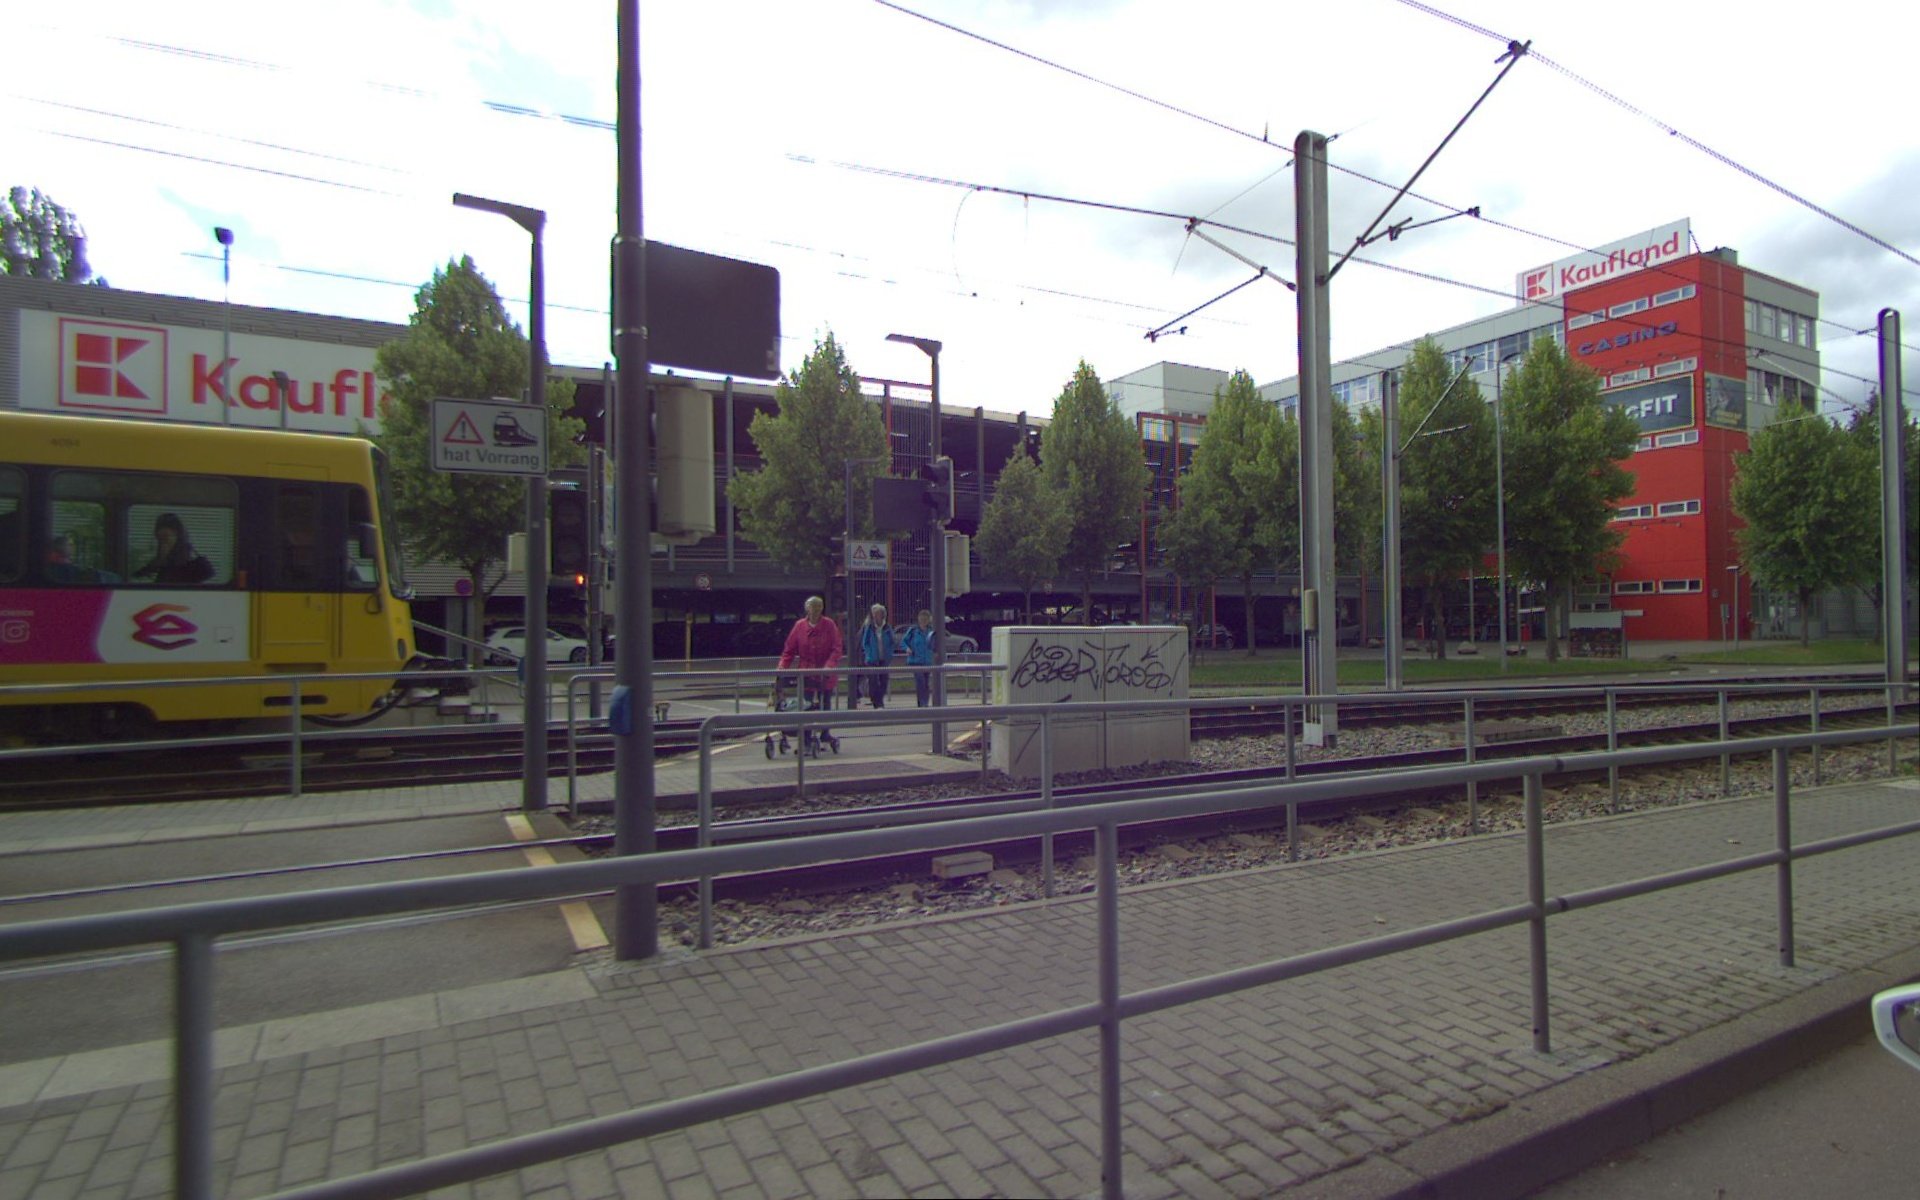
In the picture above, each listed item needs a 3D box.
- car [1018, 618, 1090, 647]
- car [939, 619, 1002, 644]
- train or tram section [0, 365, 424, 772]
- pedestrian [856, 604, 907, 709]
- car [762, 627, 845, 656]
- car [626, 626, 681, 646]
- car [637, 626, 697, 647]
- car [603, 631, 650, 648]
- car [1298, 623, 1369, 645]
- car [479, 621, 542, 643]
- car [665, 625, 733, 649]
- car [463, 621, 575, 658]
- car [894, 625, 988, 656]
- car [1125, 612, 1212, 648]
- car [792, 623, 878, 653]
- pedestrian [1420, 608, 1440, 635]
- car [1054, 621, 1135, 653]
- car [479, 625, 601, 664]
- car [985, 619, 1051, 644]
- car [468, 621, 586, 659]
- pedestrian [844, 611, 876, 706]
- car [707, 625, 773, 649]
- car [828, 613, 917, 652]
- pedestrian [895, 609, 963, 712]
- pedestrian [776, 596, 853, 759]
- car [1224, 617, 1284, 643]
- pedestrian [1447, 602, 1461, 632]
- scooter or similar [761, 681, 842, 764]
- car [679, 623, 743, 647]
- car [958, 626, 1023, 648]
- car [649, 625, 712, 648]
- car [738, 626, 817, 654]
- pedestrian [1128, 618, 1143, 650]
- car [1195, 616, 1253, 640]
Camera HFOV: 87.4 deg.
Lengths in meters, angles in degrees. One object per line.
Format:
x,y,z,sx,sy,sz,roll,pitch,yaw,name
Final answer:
5.148,1.763,54.911,3.631,1.495,1.666,1,-2,-30,car
0.679,1.999,63.682,3.631,1.495,1.666,1,-3,-30,car
-14.790,-0.312,8.109,18.395,3.879,2.746,0,-1,-28,train or tram section
-1.324,0.947,16.875,0.717,1.720,0.654,0,-3,-18,pedestrian
-7.045,1.862,45.235,3.432,1.240,1.433,1,-3,-29,car
-22.969,2.688,75.337,3.702,1.386,1.627,0,-2,-29,car
-20.180,2.490,69.144,3.702,1.386,1.627,0,-2,-29,car
-29.477,3.503,88.829,3.702,1.385,1.628,1,-3,-29,car
21.904,1.960,58.895,4.397,1.242,1.448,1,-1,-30,car
-25.763,1.817,57.594,3.177,1.240,1.432,0,-2,-29,car
-15.671,2.206,60.396,3.702,1.386,1.627,0,-2,-29,car
-18.525,1.666,42.202,4.148,1.451,1.833,1,-4,-30,car
-0.864,1.814,45.898,4.024,1.322,1.628,0,-1,-30,car
11.570,1.661,55.607,4.810,1.913,1.666,0,-2,-30,car
-5.386,1.617,43.465,3.431,1.240,1.433,0,-2,-28,car
31.144,1.437,66.559,0.856,1.717,0.734,1,-3,-30,pedestrian
6.525,1.761,48.731,3.631,1.495,1.666,0,-2,-30,car
-15.593,1.621,37.342,4.024,1.342,1.628,1,-2,-30,car
3.427,1.876,59.541,3.631,1.437,1.666,0,-2,-30,car
-17.202,1.558,39.913,4.147,1.451,1.833,0,-2,-30,car
-1.807,1.052,18.163,0.458,1.683,0.516,0,-3,-18,pedestrian
-11.777,1.971,53.830,3.177,1.240,1.433,1,-3,-29,car
-4.331,1.638,49.935,4.005,1.838,1.833,1,-3,-30,car
-0.517,0.981,16.423,0.926,1.632,0.712,0,-3,-18,pedestrian
-1.550,0.813,10.745,0.781,1.675,0.614,-1,-3,-8,pedestrian
19.176,1.950,65.446,3.600,1.572,1.759,1,-4,-32,car
34.005,1.163,69.113,0.546,2.040,0.599,0,-3,-28,pedestrian
-1.593,1.222,10.148,0.784,0.778,0.497,-1,-3,-8,scooter or similar
-13.800,1.947,55.716,3.177,1.240,1.433,1,-3,-29,car
1.867,2.225,61.212,3.631,1.302,1.666,0,-2,-30,car
-18.055,2.352,64.868,3.702,1.386,1.627,0,-2,-29,car
-8.570,1.851,47.222,3.431,1.240,1.432,0,-2,-29,car
8.459,1.647,48.383,0.606,1.526,0.419,0,-1,-29,pedestrian
17.713,1.842,67.296,3.768,1.572,1.665,1,-2,-32,car
